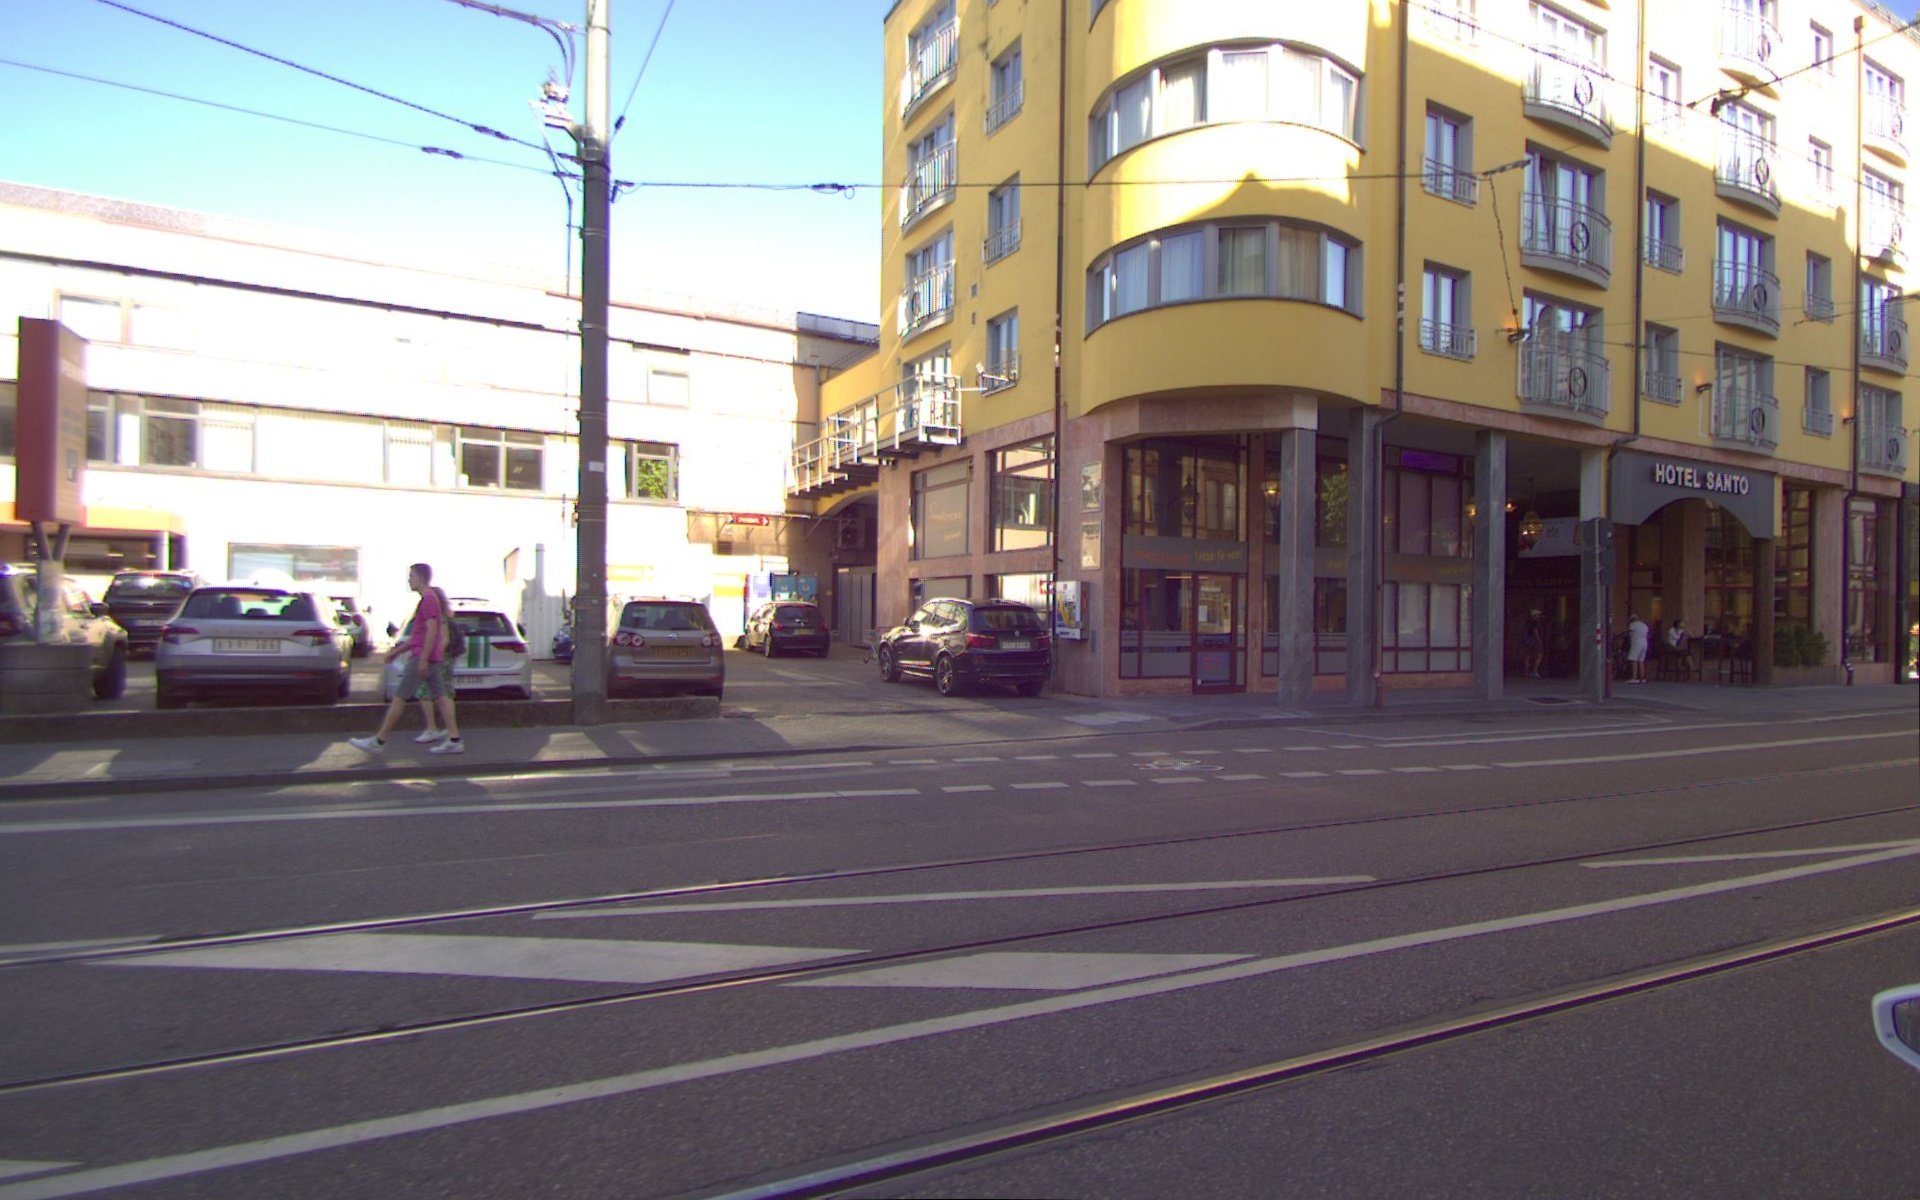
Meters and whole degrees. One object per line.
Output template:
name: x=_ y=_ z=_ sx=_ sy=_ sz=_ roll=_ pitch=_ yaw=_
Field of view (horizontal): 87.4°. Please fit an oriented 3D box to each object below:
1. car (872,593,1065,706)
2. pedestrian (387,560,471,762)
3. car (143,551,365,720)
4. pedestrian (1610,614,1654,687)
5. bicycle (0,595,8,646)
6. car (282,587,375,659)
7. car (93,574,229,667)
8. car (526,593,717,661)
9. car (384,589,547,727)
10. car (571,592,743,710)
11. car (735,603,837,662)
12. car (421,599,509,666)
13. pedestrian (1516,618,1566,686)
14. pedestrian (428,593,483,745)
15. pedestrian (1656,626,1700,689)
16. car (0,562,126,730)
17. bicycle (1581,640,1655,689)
car: x=0.021 y=0.811 z=18.571 sx=1.763 sy=1.836 sz=4.216 roll=1 pitch=0 yaw=-28
pedestrian: x=-5.417 y=0.602 z=10.246 sx=0.701 sy=1.972 sz=0.634 roll=1 pitch=0 yaw=-30
car: x=-9.048 y=0.486 z=13.238 sx=1.763 sy=1.835 sz=4.217 roll=4 pitch=-3 yaw=-28
pedestrian: x=16.909 y=1.261 z=25.280 sx=0.713 sy=1.793 sz=0.560 roll=2 pitch=0 yaw=-24
bicycle: x=-20.385 y=0.388 z=19.951 sx=2.039 sy=1.028 sz=0.501 roll=2 pitch=-1 yaw=-31
car: x=-14.751 y=0.555 z=23.614 sx=1.608 sy=1.501 sz=3.620 roll=4 pitch=-3 yaw=-30
car: x=-16.602 y=0.417 z=21.040 sx=1.676 sy=1.772 sz=3.561 roll=1 pitch=-1 yaw=-30
car: x=-7.910 y=0.632 z=23.527 sx=3.954 sy=1.473 sz=1.770 roll=2 pitch=-1 yaw=-31
car: x=-7.036 y=0.716 z=14.235 sx=1.763 sy=1.631 sz=4.216 roll=1 pitch=-1 yaw=-28
car: x=-4.887 y=0.728 z=15.794 sx=1.763 sy=1.568 sz=4.216 roll=4 pitch=-2 yaw=-28
car: x=-4.886 y=0.864 z=27.877 sx=1.676 sy=1.499 sz=3.561 roll=1 pitch=-1 yaw=-30
car: x=-12.051 y=0.744 z=24.354 sx=1.676 sy=1.499 sz=3.561 roll=1 pitch=-1 yaw=-30
pedestrian: x=15.489 y=1.377 z=26.777 sx=0.943 sy=1.793 sz=0.705 roll=1 pitch=0 yaw=-24
pedestrian: x=-5.628 y=0.756 z=11.201 sx=0.493 sy=1.638 sz=0.569 roll=1 pitch=-1 yaw=-30
pedestrian: x=18.381 y=1.455 z=25.723 sx=0.593 sy=1.568 sz=0.703 roll=1 pitch=0 yaw=-24
car: x=-11.476 y=0.427 z=11.831 sx=1.763 sy=1.695 sz=3.674 roll=1 pitch=2 yaw=-28
bicycle: x=17.025 y=1.654 z=25.985 sx=2.052 sy=1.219 sz=0.580 roll=1 pitch=-1 yaw=-24
